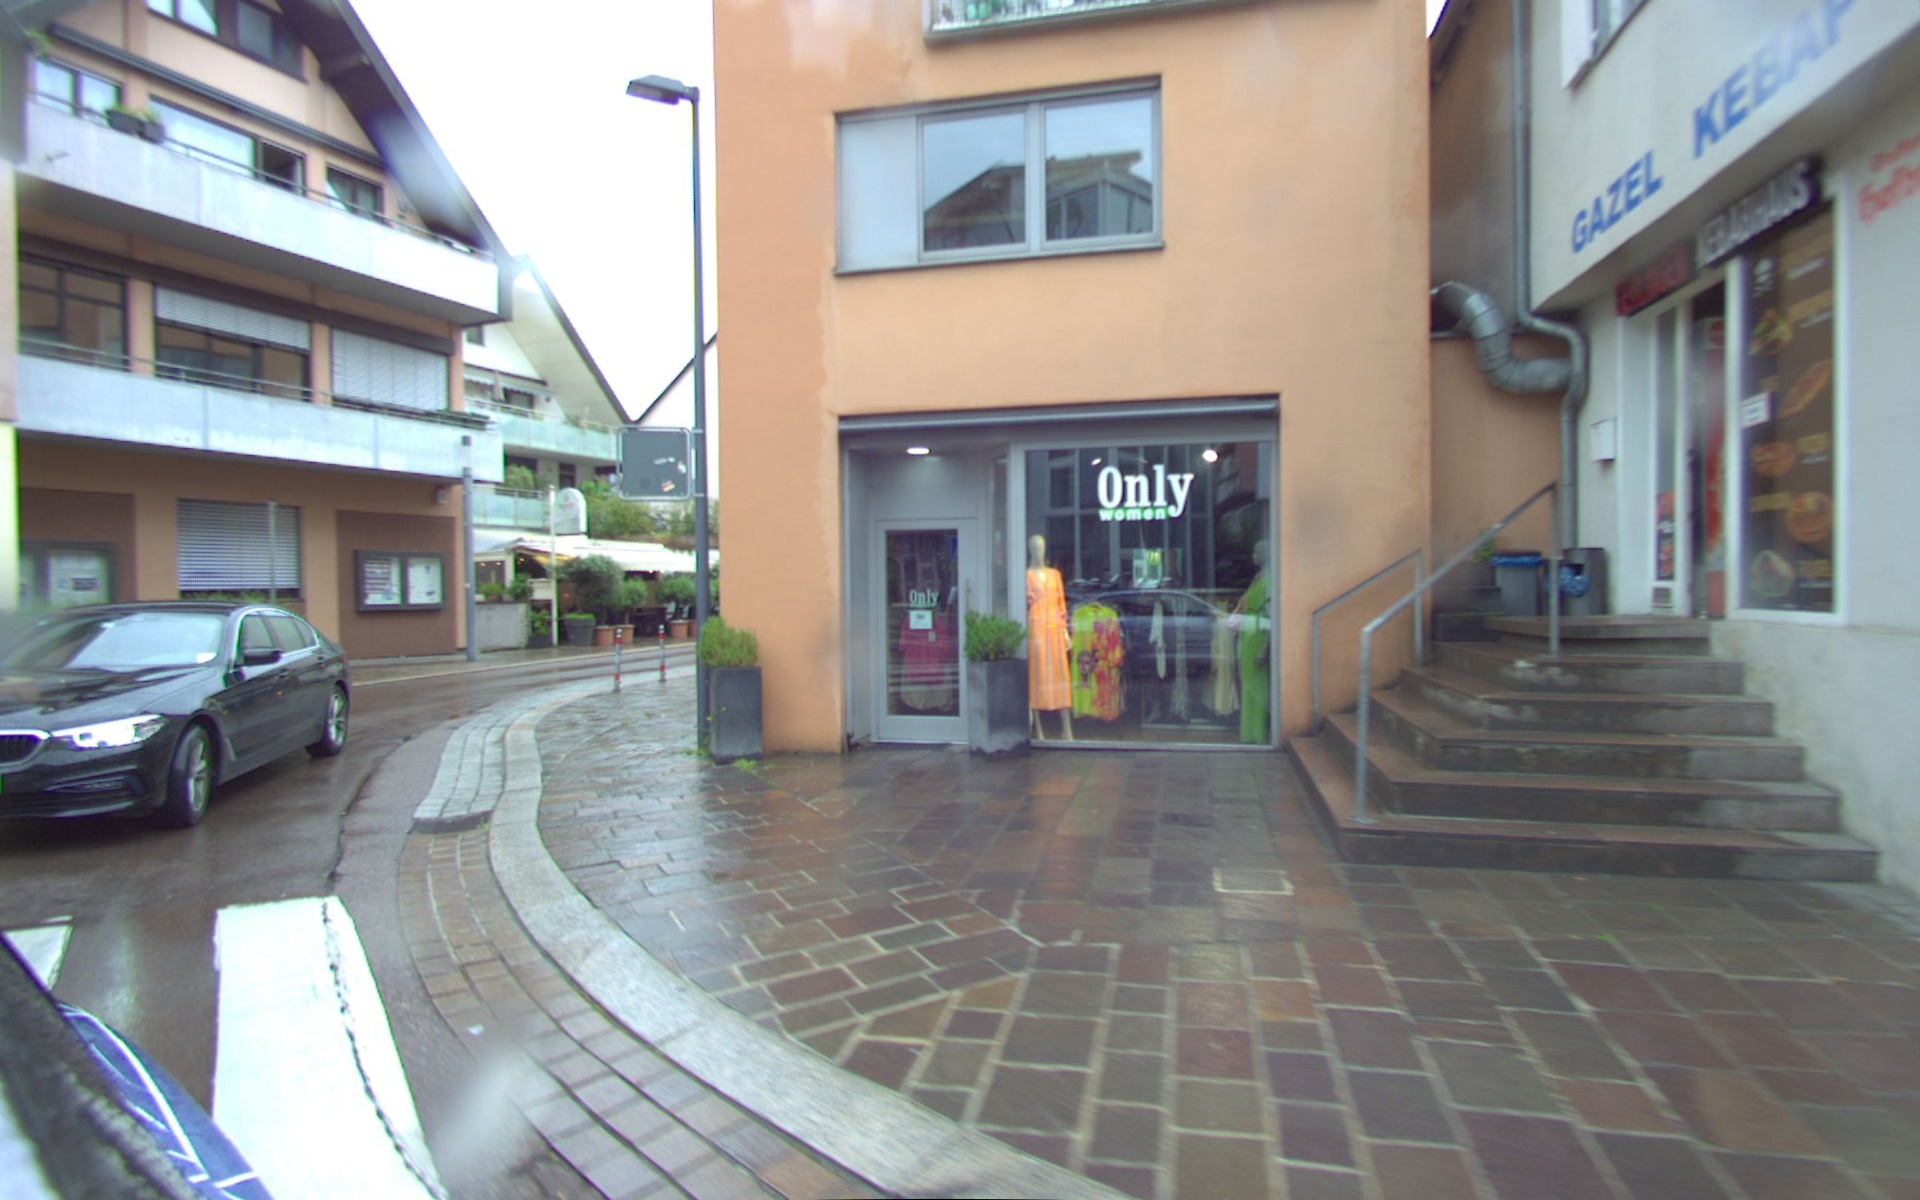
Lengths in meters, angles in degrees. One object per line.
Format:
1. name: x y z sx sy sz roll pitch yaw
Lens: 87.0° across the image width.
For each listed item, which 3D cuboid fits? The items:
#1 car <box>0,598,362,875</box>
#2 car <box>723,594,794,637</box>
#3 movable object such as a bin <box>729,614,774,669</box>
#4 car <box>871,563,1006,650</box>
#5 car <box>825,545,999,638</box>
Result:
1. car: -6.230 0.751 7.552 1.915 1.413 4.433 2 0 -15
2. car: -6.814 0.487 34.519 1.714 1.367 3.938 0 1 -1
3. movable object such as a bin: -4.077 0.809 19.818 0.652 1.044 0.608 -1 1 12
4. car: -0.473 0.121 29.405 1.985 2.256 5.823 0 1 20
5. car: -1.409 -0.240 36.299 2.695 2.896 8.775 -1 0 23
